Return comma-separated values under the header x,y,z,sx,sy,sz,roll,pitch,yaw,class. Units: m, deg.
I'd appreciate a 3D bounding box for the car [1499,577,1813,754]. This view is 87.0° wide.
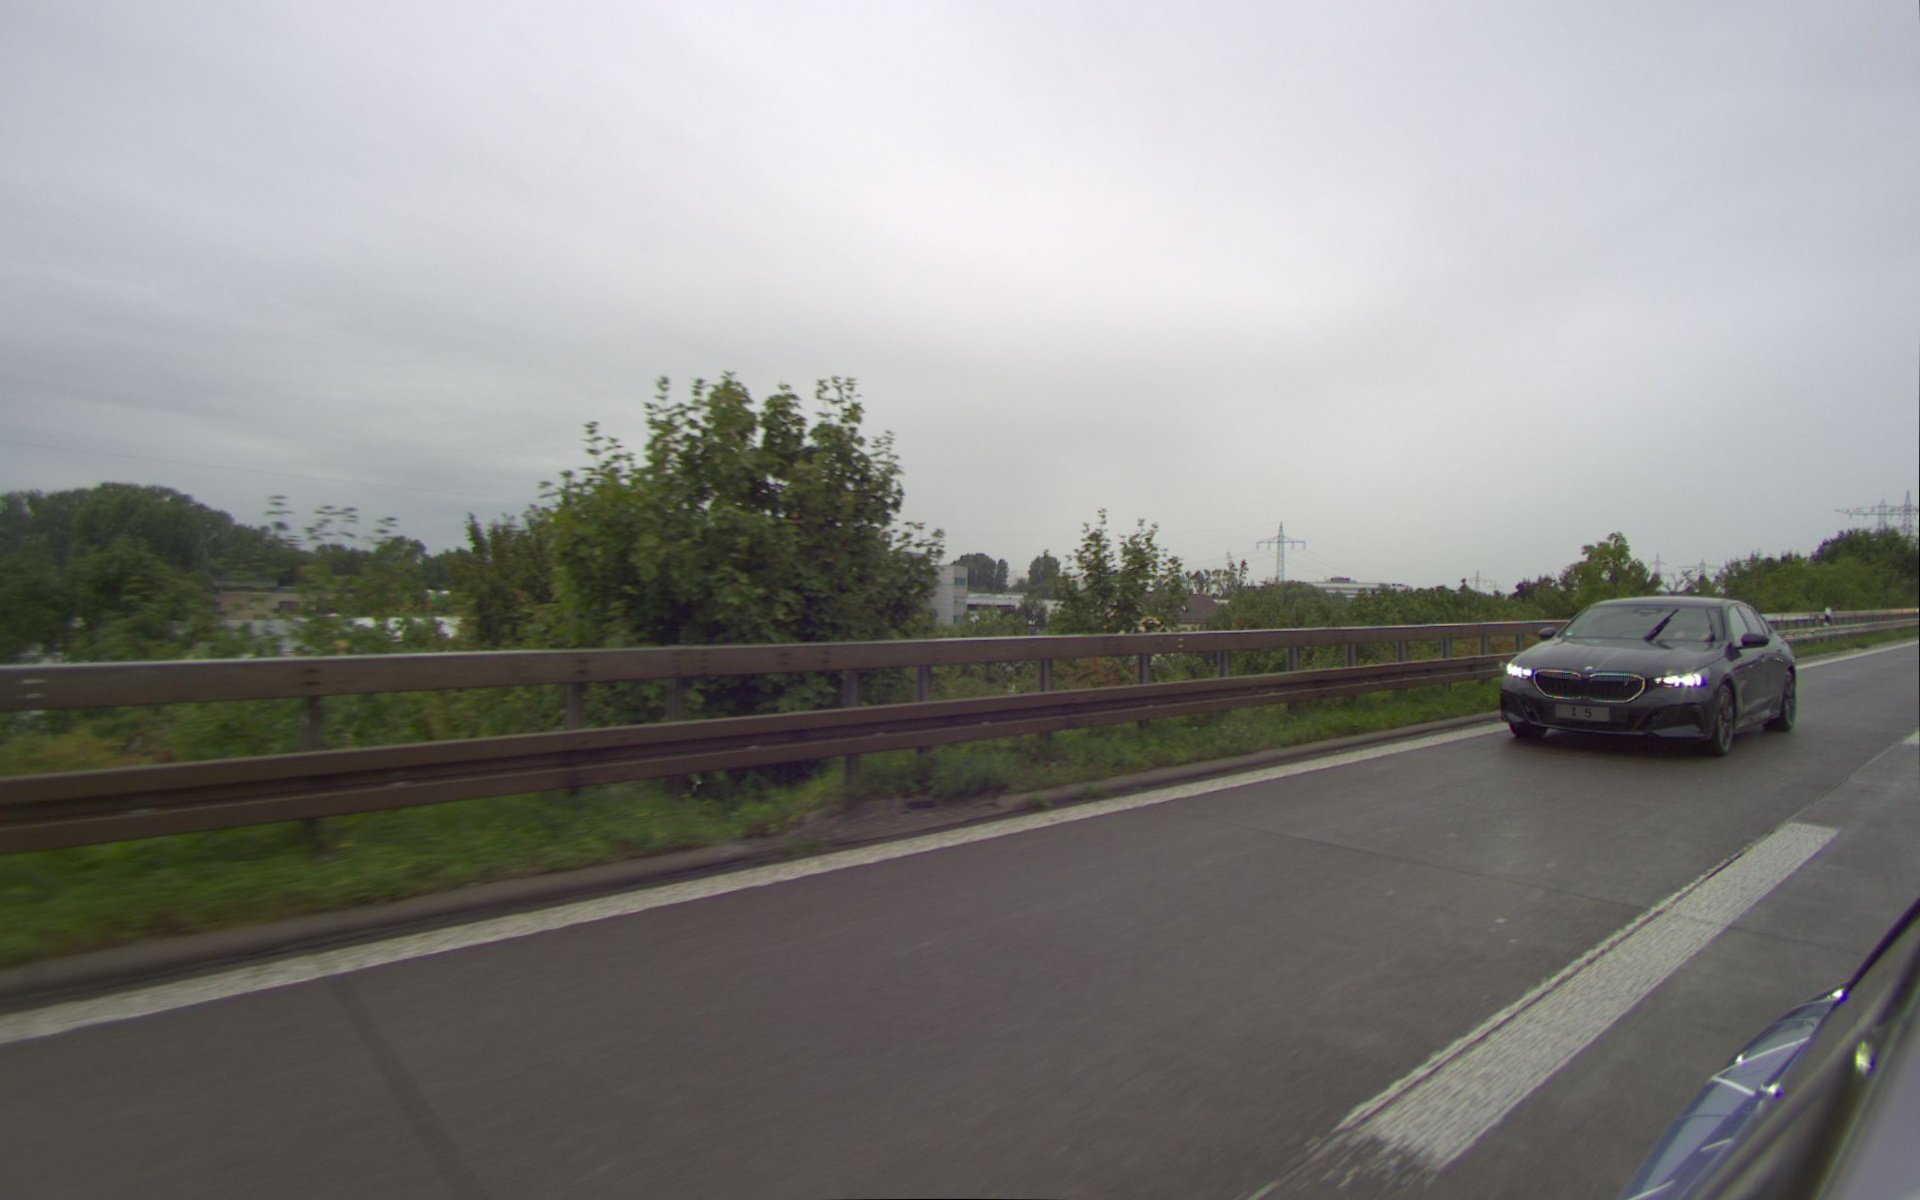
x,y,z,sx,sy,sz,roll,pitch,yaw,class
7.676,0.606,11.015,4.130,1.560,1.860,1,-2,-42,car
